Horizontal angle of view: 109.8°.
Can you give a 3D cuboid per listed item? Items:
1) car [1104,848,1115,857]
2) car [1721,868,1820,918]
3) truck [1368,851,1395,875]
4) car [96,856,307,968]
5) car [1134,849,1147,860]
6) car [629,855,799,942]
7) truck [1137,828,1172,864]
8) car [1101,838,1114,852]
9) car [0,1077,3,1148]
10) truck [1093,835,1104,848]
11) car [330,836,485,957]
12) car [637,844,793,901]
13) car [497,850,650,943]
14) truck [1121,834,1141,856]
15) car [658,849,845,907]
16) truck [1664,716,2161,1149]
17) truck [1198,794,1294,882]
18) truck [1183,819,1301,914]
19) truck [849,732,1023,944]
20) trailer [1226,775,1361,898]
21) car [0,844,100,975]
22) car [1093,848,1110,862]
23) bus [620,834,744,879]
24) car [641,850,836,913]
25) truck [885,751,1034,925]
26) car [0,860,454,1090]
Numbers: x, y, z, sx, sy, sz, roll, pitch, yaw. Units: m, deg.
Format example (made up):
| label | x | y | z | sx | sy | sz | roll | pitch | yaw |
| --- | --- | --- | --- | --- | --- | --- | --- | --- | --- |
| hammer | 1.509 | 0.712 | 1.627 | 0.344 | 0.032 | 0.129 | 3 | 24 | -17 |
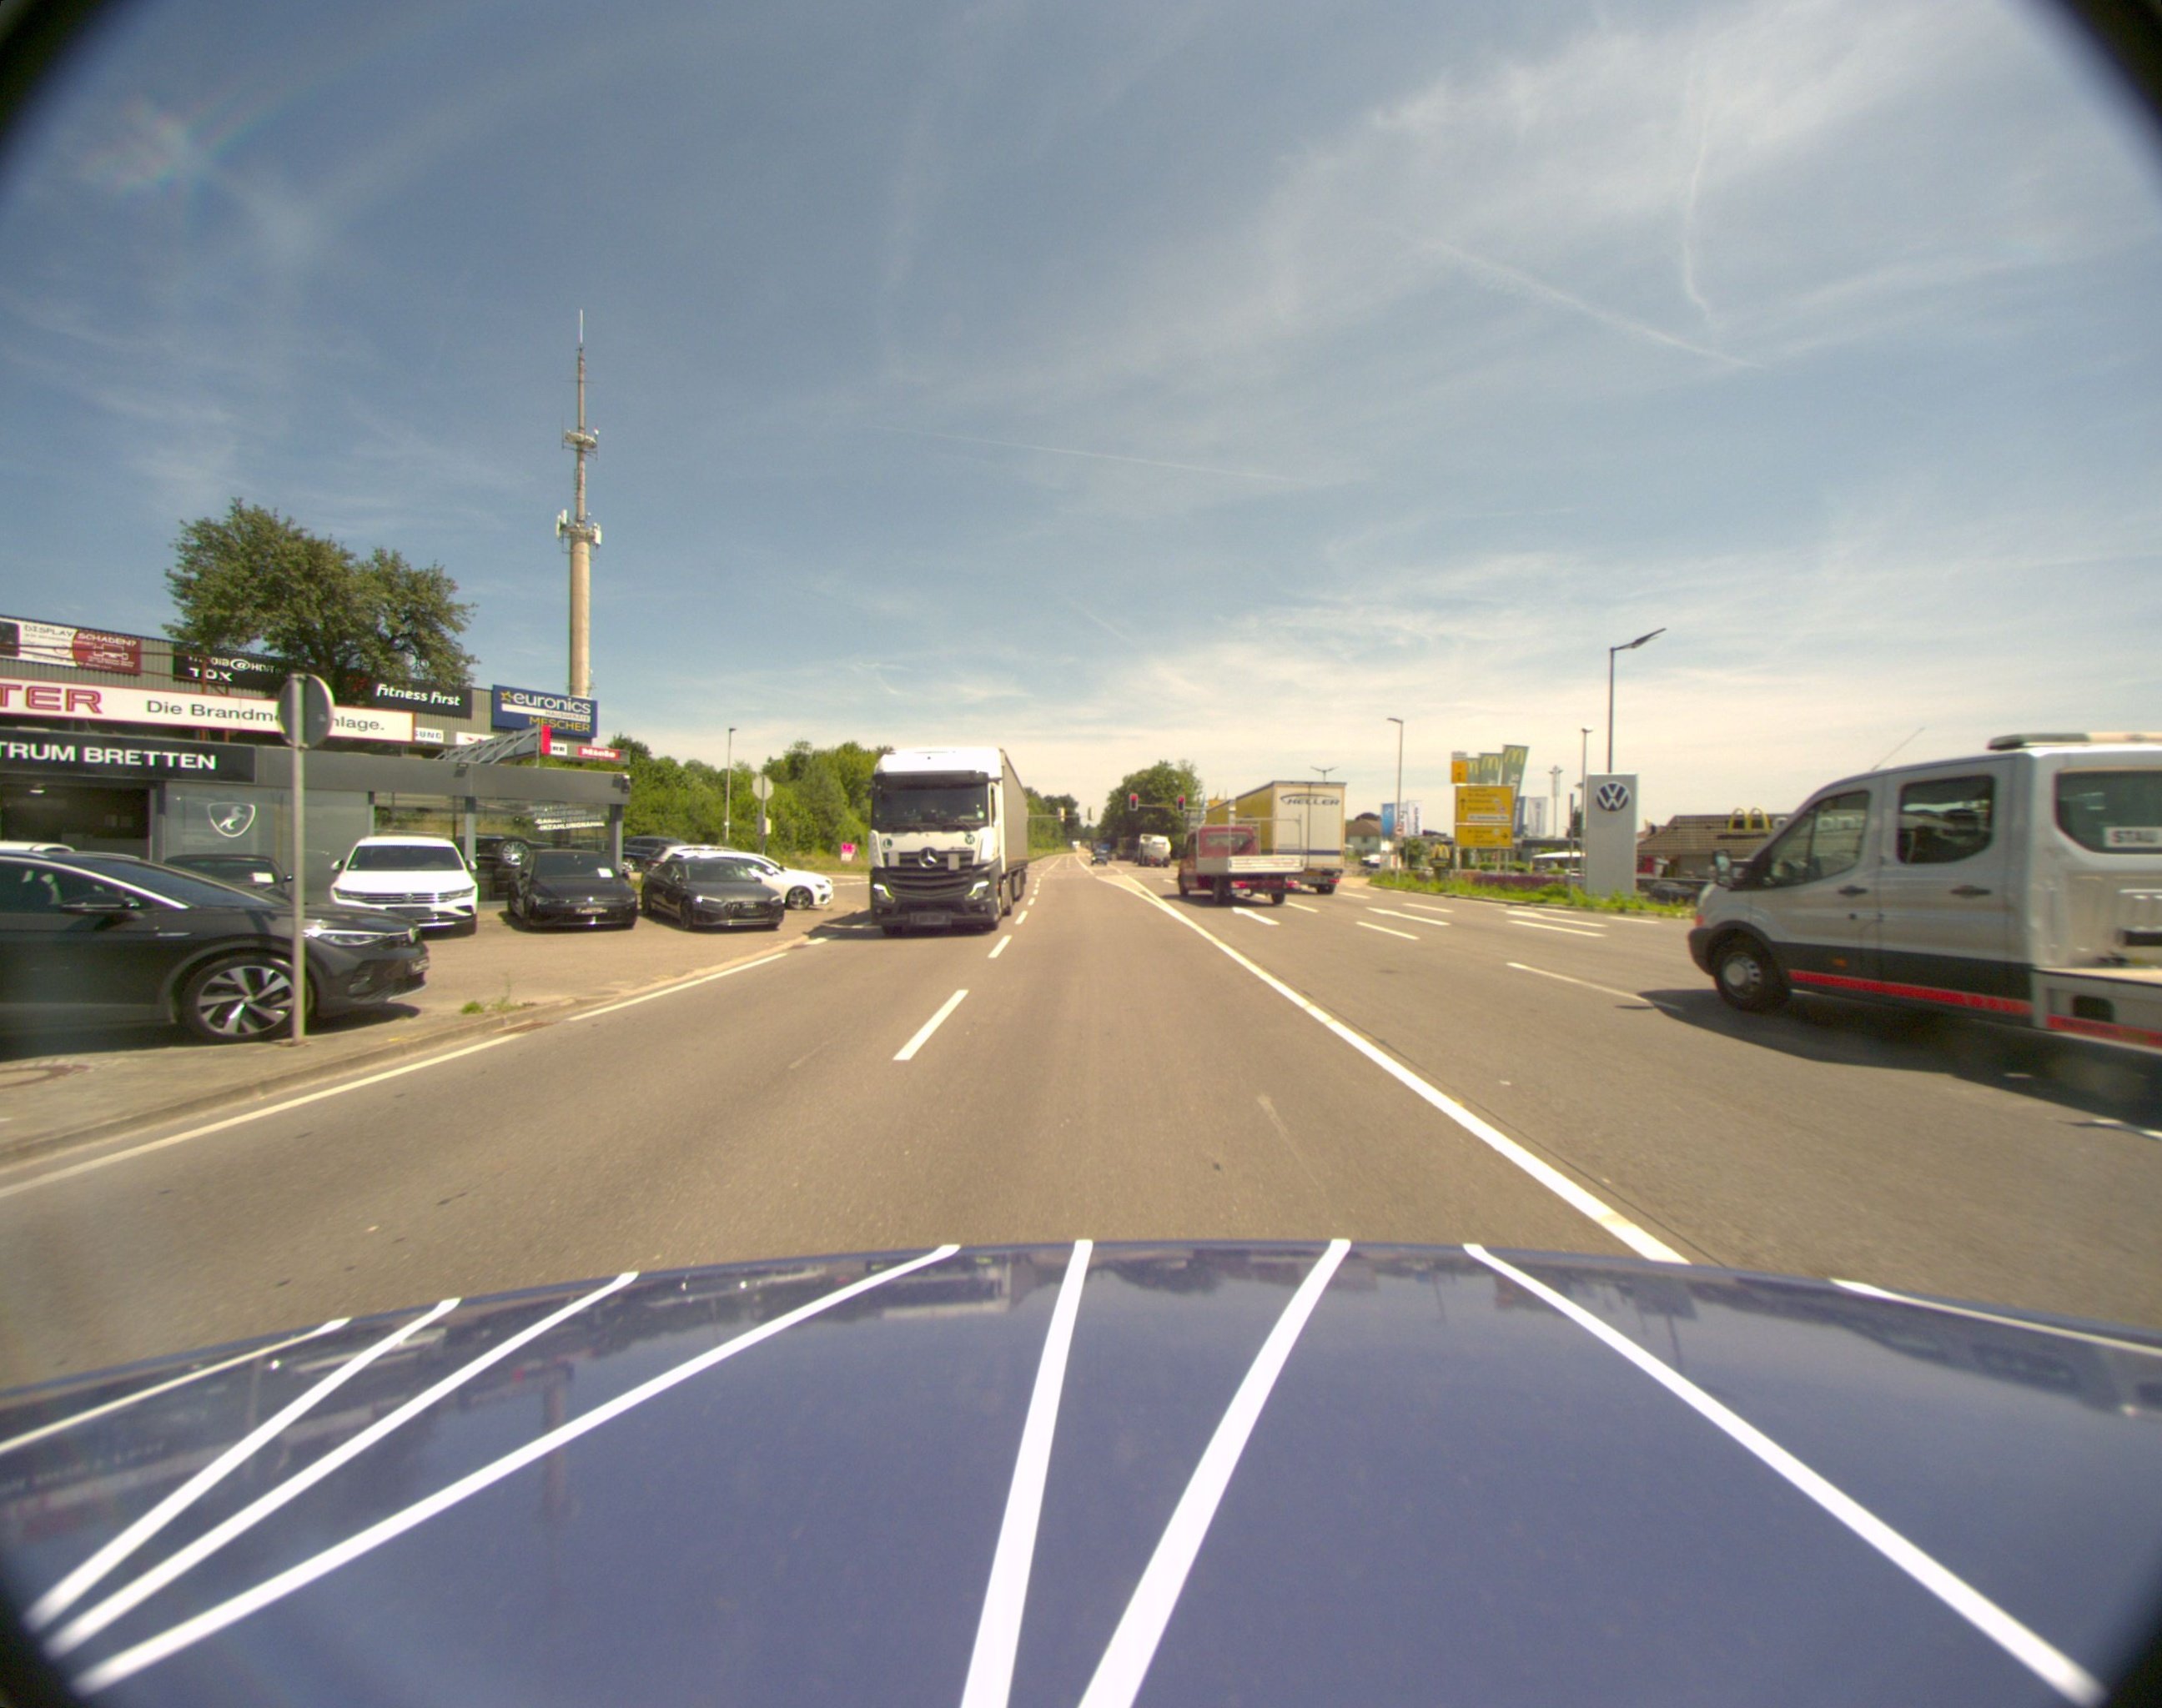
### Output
| label | x | y | z | sx | sy | sz | roll | pitch | yaw |
| --- | --- | --- | --- | --- | --- | --- | --- | --- | --- |
| car | 4.913 | -0.254 | 132.447 | 1.688 | 1.489 | 3.954 | 3 | 1 | 1 |
| car | 23.629 | 1.282 | 26.207 | 2.121 | 1.471 | 4.009 | 1 | 1 | 37 |
| truck | 44.066 | 1.264 | 111.115 | 2.995 | 3.201 | 9.631 | 2 | 0 | 25 |
| car | -14.083 | 0.798 | 12.427 | 1.858 | 1.304 | 4.135 | 1 | 2 | -44 |
| car | 8.837 | 0.037 | 113.167 | 1.688 | 1.420 | 4.153 | 2 | 1 | 1 |
| car | -8.205 | 0.852 | 16.720 | 1.932 | 1.379 | 4.918 | 1 | 2 | -44 |
| truck | 8.696 | -0.889 | 91.591 | 2.611 | 3.995 | 15.128 | 0 | 0 | 0 |
| car | 7.558 | -2.623 | 216.993 | 3.350 | 4.056 | 7.693 | 1 | 1 | 3 |
| car | -8.239 | 0.949 | 3.173 | 4.337 | 1.490 | 2.081 | -1 | 1 | -2 |
| truck | 6.115 | -4.389 | 262.947 | 3.533 | 4.496 | 7.203 | -1 | 1 | 4 |
| car | -12.204 | 0.627 | 13.723 | 1.858 | 1.704 | 4.135 | 1 | 3 | -44 |
| car | -11.746 | 0.599 | 24.501 | 4.184 | 1.681 | 1.879 | 3 | 0 | -37 |
| car | -10.343 | 0.745 | 15.346 | 1.858 | 1.412 | 4.152 | 1 | 3 | -44 |
| truck | 9.138 | -1.624 | 140.581 | 2.851 | 3.932 | 17.086 | 1 | 1 | 1 |
| car | -9.827 | 0.738 | 22.878 | 4.750 | 1.543 | 1.994 | 3 | -1 | -39 |
| truck | 7.099 | 0.446 | 4.947 | 2.430 | 2.327 | 5.676 | 2 | 0 | 4 |
| truck | 8.508 | -0.774 | 40.698 | 3.036 | 4.081 | 10.354 | 1 | 0 | 1 |
| truck | 4.689 | 0.286 | 23.390 | 2.402 | 2.430 | 6.872 | -1 | 1 | 2 |
| truck | -3.023 | -0.318 | 17.775 | 2.981 | 3.987 | 6.325 | 2 | 0 | -2 |
| trailer | 8.354 | -0.639 | 31.508 | 3.018 | 4.262 | 10.058 | 0 | 0 | 1 |
| car | -15.526 | 0.682 | 10.560 | 1.736 | 1.476 | 3.927 | 1 | 3 | -44 |
| car | 2.416 | 0.055 | 90.747 | 1.928 | 1.601 | 4.509 | 0 | 1 | 0 |
| bus | -17.913 | 0.092 | 34.285 | 4.505 | 1.642 | 1.941 | 4 | 2 | -10 |
| car | -9.092 | 0.742 | 20.298 | 4.485 | 1.401 | 1.742 | 4 | -1 | -32 |
| truck | -3.276 | -0.403 | 24.778 | 2.981 | 3.986 | 14.118 | 2 | 0 | -2 |
| car | -8.281 | 0.880 | 6.334 | 4.346 | 1.615 | 2.057 | 0 | 1 | -26 |
